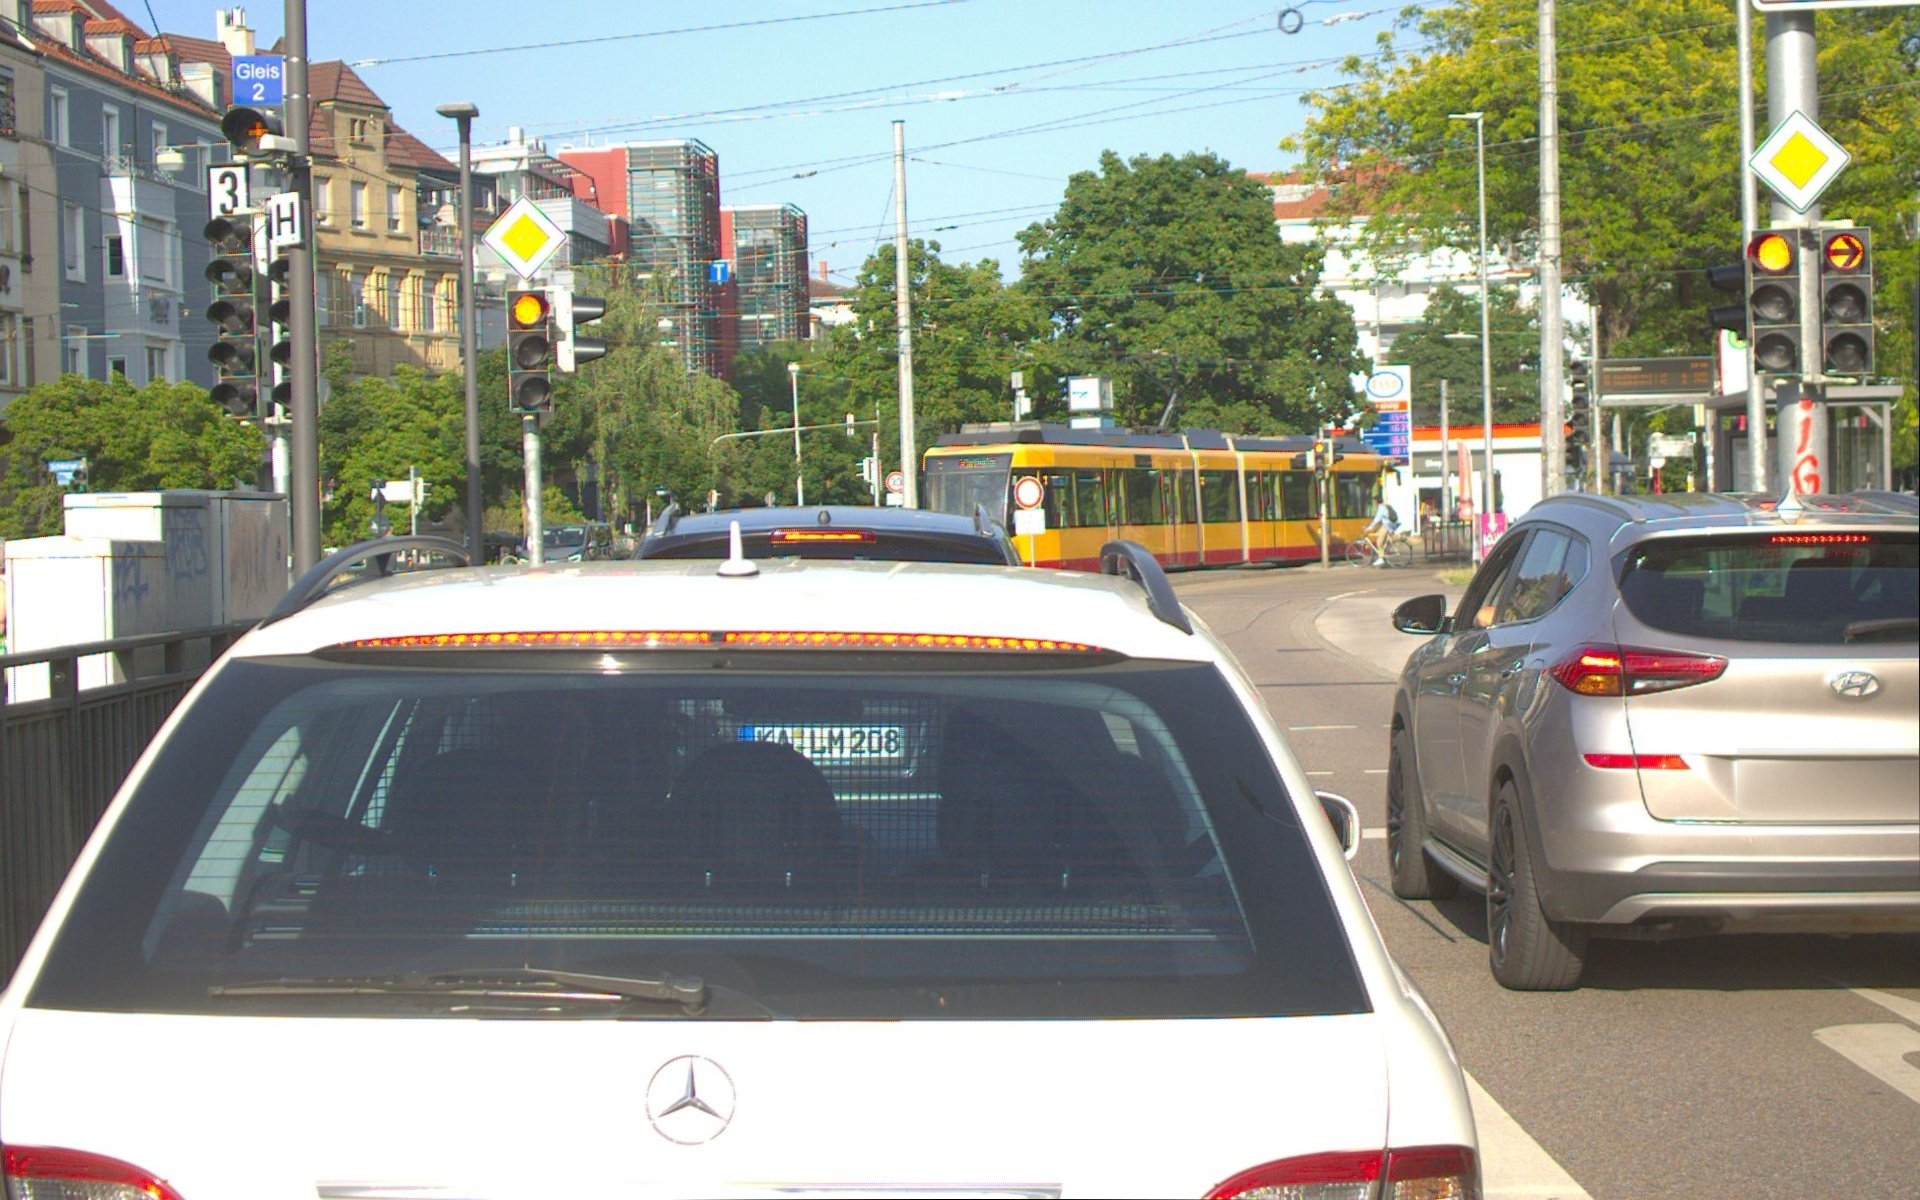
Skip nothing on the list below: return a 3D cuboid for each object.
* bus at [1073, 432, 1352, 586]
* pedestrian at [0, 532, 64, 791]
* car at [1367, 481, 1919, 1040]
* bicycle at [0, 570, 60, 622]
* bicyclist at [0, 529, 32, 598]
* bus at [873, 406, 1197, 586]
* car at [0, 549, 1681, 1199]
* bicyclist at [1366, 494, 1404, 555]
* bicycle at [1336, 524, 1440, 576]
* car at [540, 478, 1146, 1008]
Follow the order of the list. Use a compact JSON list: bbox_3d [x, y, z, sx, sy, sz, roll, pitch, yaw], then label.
[{"bbox_3d":[6.567,-2.187,86.584,3.112,3.593,12.576,1,1,23],"label":"bus"},{"bbox_3d":[-6.000,0.380,21.561,0.612,1.593,0.633,-2,1,-7],"label":"pedestrian"},{"bbox_3d":[2.634,0.434,12.149,1.885,1.645,3.648,-2,1,0],"label":"car"},{"bbox_3d":[-17.708,-0.059,63.227,0.785,0.911,2.995,-1,1,16],"label":"bicycle"},{"bbox_3d":[-17.734,-0.667,63.192,0.764,1.257,1.173,-1,1,16],"label":"bicyclist"},{"bbox_3d":[1.892,-2.135,75.053,3.112,3.593,12.362,1,1,21],"label":"bus"},{"bbox_3d":[-0.243,0.670,5.060,1.796,1.465,3.648,0,1,-1],"label":"car"},{"bbox_3d":[10.446,-1.857,84.495,0.861,1.476,0.789,-1,1,9],"label":"bicyclist"},{"bbox_3d":[10.526,-1.235,84.519,2.483,1.209,0.806,-1,1,8],"label":"bicycle"},{"bbox_3d":[-0.384,0.412,12.634,1.885,1.645,3.648,1,1,0],"label":"car"}]
